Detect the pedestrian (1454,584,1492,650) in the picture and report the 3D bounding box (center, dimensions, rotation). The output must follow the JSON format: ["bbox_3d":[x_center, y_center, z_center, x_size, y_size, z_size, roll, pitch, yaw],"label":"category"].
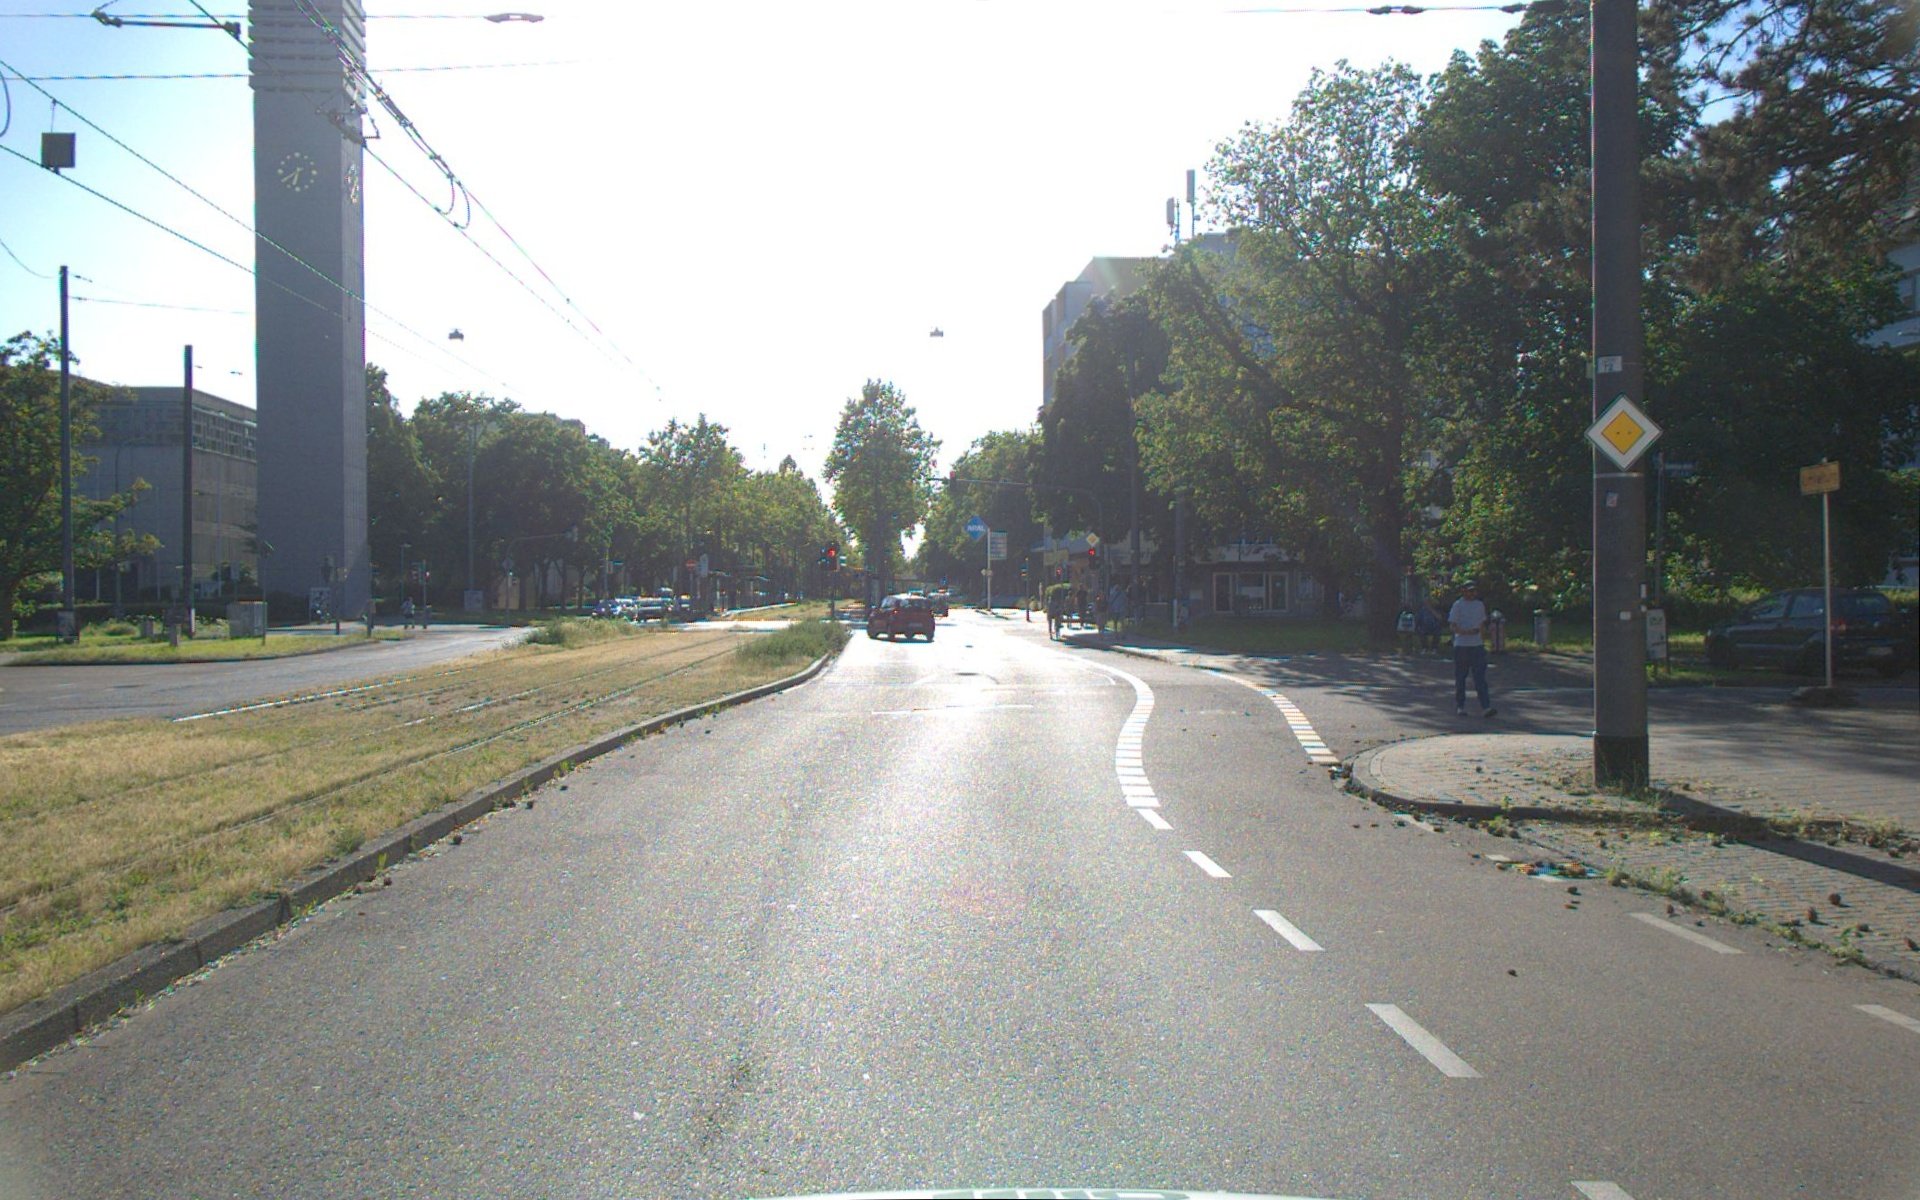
[{"bbox_3d":[11.179,0.376,36.035,0.671,1.397,0.755,1,0,24],"label":"pedestrian"}]

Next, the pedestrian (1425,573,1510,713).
[{"bbox_3d":[6.520,0.543,21.294,0.862,1.752,0.725,-1,0,3],"label":"pedestrian"}]

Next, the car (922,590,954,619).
[{"bbox_3d":[-1.540,0.294,113.341,1.930,1.892,3.997,2,0,-4],"label":"car"}]

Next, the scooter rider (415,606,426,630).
[{"bbox_3d":[-28.487,0.969,87.390,0.517,1.239,0.584,2,0,-19],"label":"scooter rider"}]

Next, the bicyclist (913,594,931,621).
[{"bbox_3d":[-2.221,0.439,96.482,0.752,1.496,0.899,-1,1,14],"label":"bicyclist"}]

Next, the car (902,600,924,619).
[{"bbox_3d":[-4.278,0.827,150.056,1.856,1.639,4.497,2,0,-4],"label":"car"}]

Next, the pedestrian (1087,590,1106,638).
[{"bbox_3d":[4.474,0.454,54.285,0.518,1.555,0.628,-2,-1,3],"label":"pedestrian"}]

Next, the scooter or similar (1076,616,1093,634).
[{"bbox_3d":[5.200,1.047,69.177,0.586,0.750,0.681,2,0,-3],"label":"scooter or similar"}]

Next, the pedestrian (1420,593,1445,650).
[{"bbox_3d":[10.393,0.473,36.393,0.395,1.247,0.760,1,0,24],"label":"pedestrian"}]

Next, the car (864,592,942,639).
[{"bbox_3d":[-2.005,0.511,57.397,1.669,1.535,3.678,1,0,-19],"label":"car"}]

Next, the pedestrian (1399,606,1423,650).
[{"bbox_3d":[9.939,0.614,36.462,0.395,0.950,0.623,1,2,24],"label":"pedestrian"}]

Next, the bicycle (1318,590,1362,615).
[{"bbox_3d":[22.213,0.150,96.680,2.421,1.424,0.608,2,0,-4],"label":"bicycle"}]

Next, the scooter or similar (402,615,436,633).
[{"bbox_3d":[-28.574,1.288,87.364,1.708,0.915,0.560,-1,0,-18],"label":"scooter or similar"}]

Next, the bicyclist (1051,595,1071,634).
[{"bbox_3d":[3.593,0.512,59.007,0.625,1.346,0.803,2,0,0],"label":"bicyclist"}]

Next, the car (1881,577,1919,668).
[{"bbox_3d":[17.694,0.378,28.594,1.422,1.600,3.809,-2,0,1],"label":"car"}]

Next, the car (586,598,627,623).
[{"bbox_3d":[-22.364,0.650,104.713,1.770,1.560,4.359,-1,0,-2],"label":"car"}]

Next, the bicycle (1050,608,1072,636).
[{"bbox_3d":[3.593,0.779,58.985,0.635,0.990,1.803,2,0,0],"label":"bicycle"}]

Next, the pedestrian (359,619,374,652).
[{"bbox_3d":[-31.010,1.854,86.417,0.433,1.695,0.747,2,0,7],"label":"pedestrian"}]

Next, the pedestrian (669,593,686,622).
[{"bbox_3d":[-16.619,0.434,97.429,0.873,1.634,0.613,2,0,-3],"label":"pedestrian"}]

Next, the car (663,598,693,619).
[{"bbox_3d":[-20.038,0.596,117.589,1.534,1.426,3.913,2,0,-2],"label":"car"}]

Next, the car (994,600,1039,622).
[{"bbox_3d":[5.096,0.966,148.086,3.903,1.892,2.013,2,0,4],"label":"car"}]

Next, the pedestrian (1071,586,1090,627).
[{"bbox_3d":[5.097,0.288,69.859,0.714,1.711,0.533,2,0,10],"label":"pedestrian"}]

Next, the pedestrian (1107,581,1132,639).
[{"bbox_3d":[5.219,0.323,54.073,0.688,1.821,0.694,-3,1,3],"label":"pedestrian"}]

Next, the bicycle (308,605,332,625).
[{"bbox_3d":[-34.986,0.796,90.448,0.480,1.064,1.684,2,0,5],"label":"bicycle"}]

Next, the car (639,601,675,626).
[{"bbox_3d":[-19.259,0.844,105.262,1.653,1.560,4.359,-1,0,-2],"label":"car"}]

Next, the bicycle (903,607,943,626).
[{"bbox_3d":[-2.155,0.942,96.444,2.203,1.004,0.790,0,5,13],"label":"bicycle"}]

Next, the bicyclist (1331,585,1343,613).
[{"bbox_3d":[21.903,-0.043,96.104,0.517,1.594,0.464,2,0,-5],"label":"bicyclist"}]

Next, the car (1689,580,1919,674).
[{"bbox_3d":[14.978,0.458,29.539,1.608,1.520,3.795,-2,0,-14],"label":"car"}]

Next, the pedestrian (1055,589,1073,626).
[{"bbox_3d":[4.373,0.315,69.519,0.633,1.549,0.496,2,0,10],"label":"pedestrian"}]
